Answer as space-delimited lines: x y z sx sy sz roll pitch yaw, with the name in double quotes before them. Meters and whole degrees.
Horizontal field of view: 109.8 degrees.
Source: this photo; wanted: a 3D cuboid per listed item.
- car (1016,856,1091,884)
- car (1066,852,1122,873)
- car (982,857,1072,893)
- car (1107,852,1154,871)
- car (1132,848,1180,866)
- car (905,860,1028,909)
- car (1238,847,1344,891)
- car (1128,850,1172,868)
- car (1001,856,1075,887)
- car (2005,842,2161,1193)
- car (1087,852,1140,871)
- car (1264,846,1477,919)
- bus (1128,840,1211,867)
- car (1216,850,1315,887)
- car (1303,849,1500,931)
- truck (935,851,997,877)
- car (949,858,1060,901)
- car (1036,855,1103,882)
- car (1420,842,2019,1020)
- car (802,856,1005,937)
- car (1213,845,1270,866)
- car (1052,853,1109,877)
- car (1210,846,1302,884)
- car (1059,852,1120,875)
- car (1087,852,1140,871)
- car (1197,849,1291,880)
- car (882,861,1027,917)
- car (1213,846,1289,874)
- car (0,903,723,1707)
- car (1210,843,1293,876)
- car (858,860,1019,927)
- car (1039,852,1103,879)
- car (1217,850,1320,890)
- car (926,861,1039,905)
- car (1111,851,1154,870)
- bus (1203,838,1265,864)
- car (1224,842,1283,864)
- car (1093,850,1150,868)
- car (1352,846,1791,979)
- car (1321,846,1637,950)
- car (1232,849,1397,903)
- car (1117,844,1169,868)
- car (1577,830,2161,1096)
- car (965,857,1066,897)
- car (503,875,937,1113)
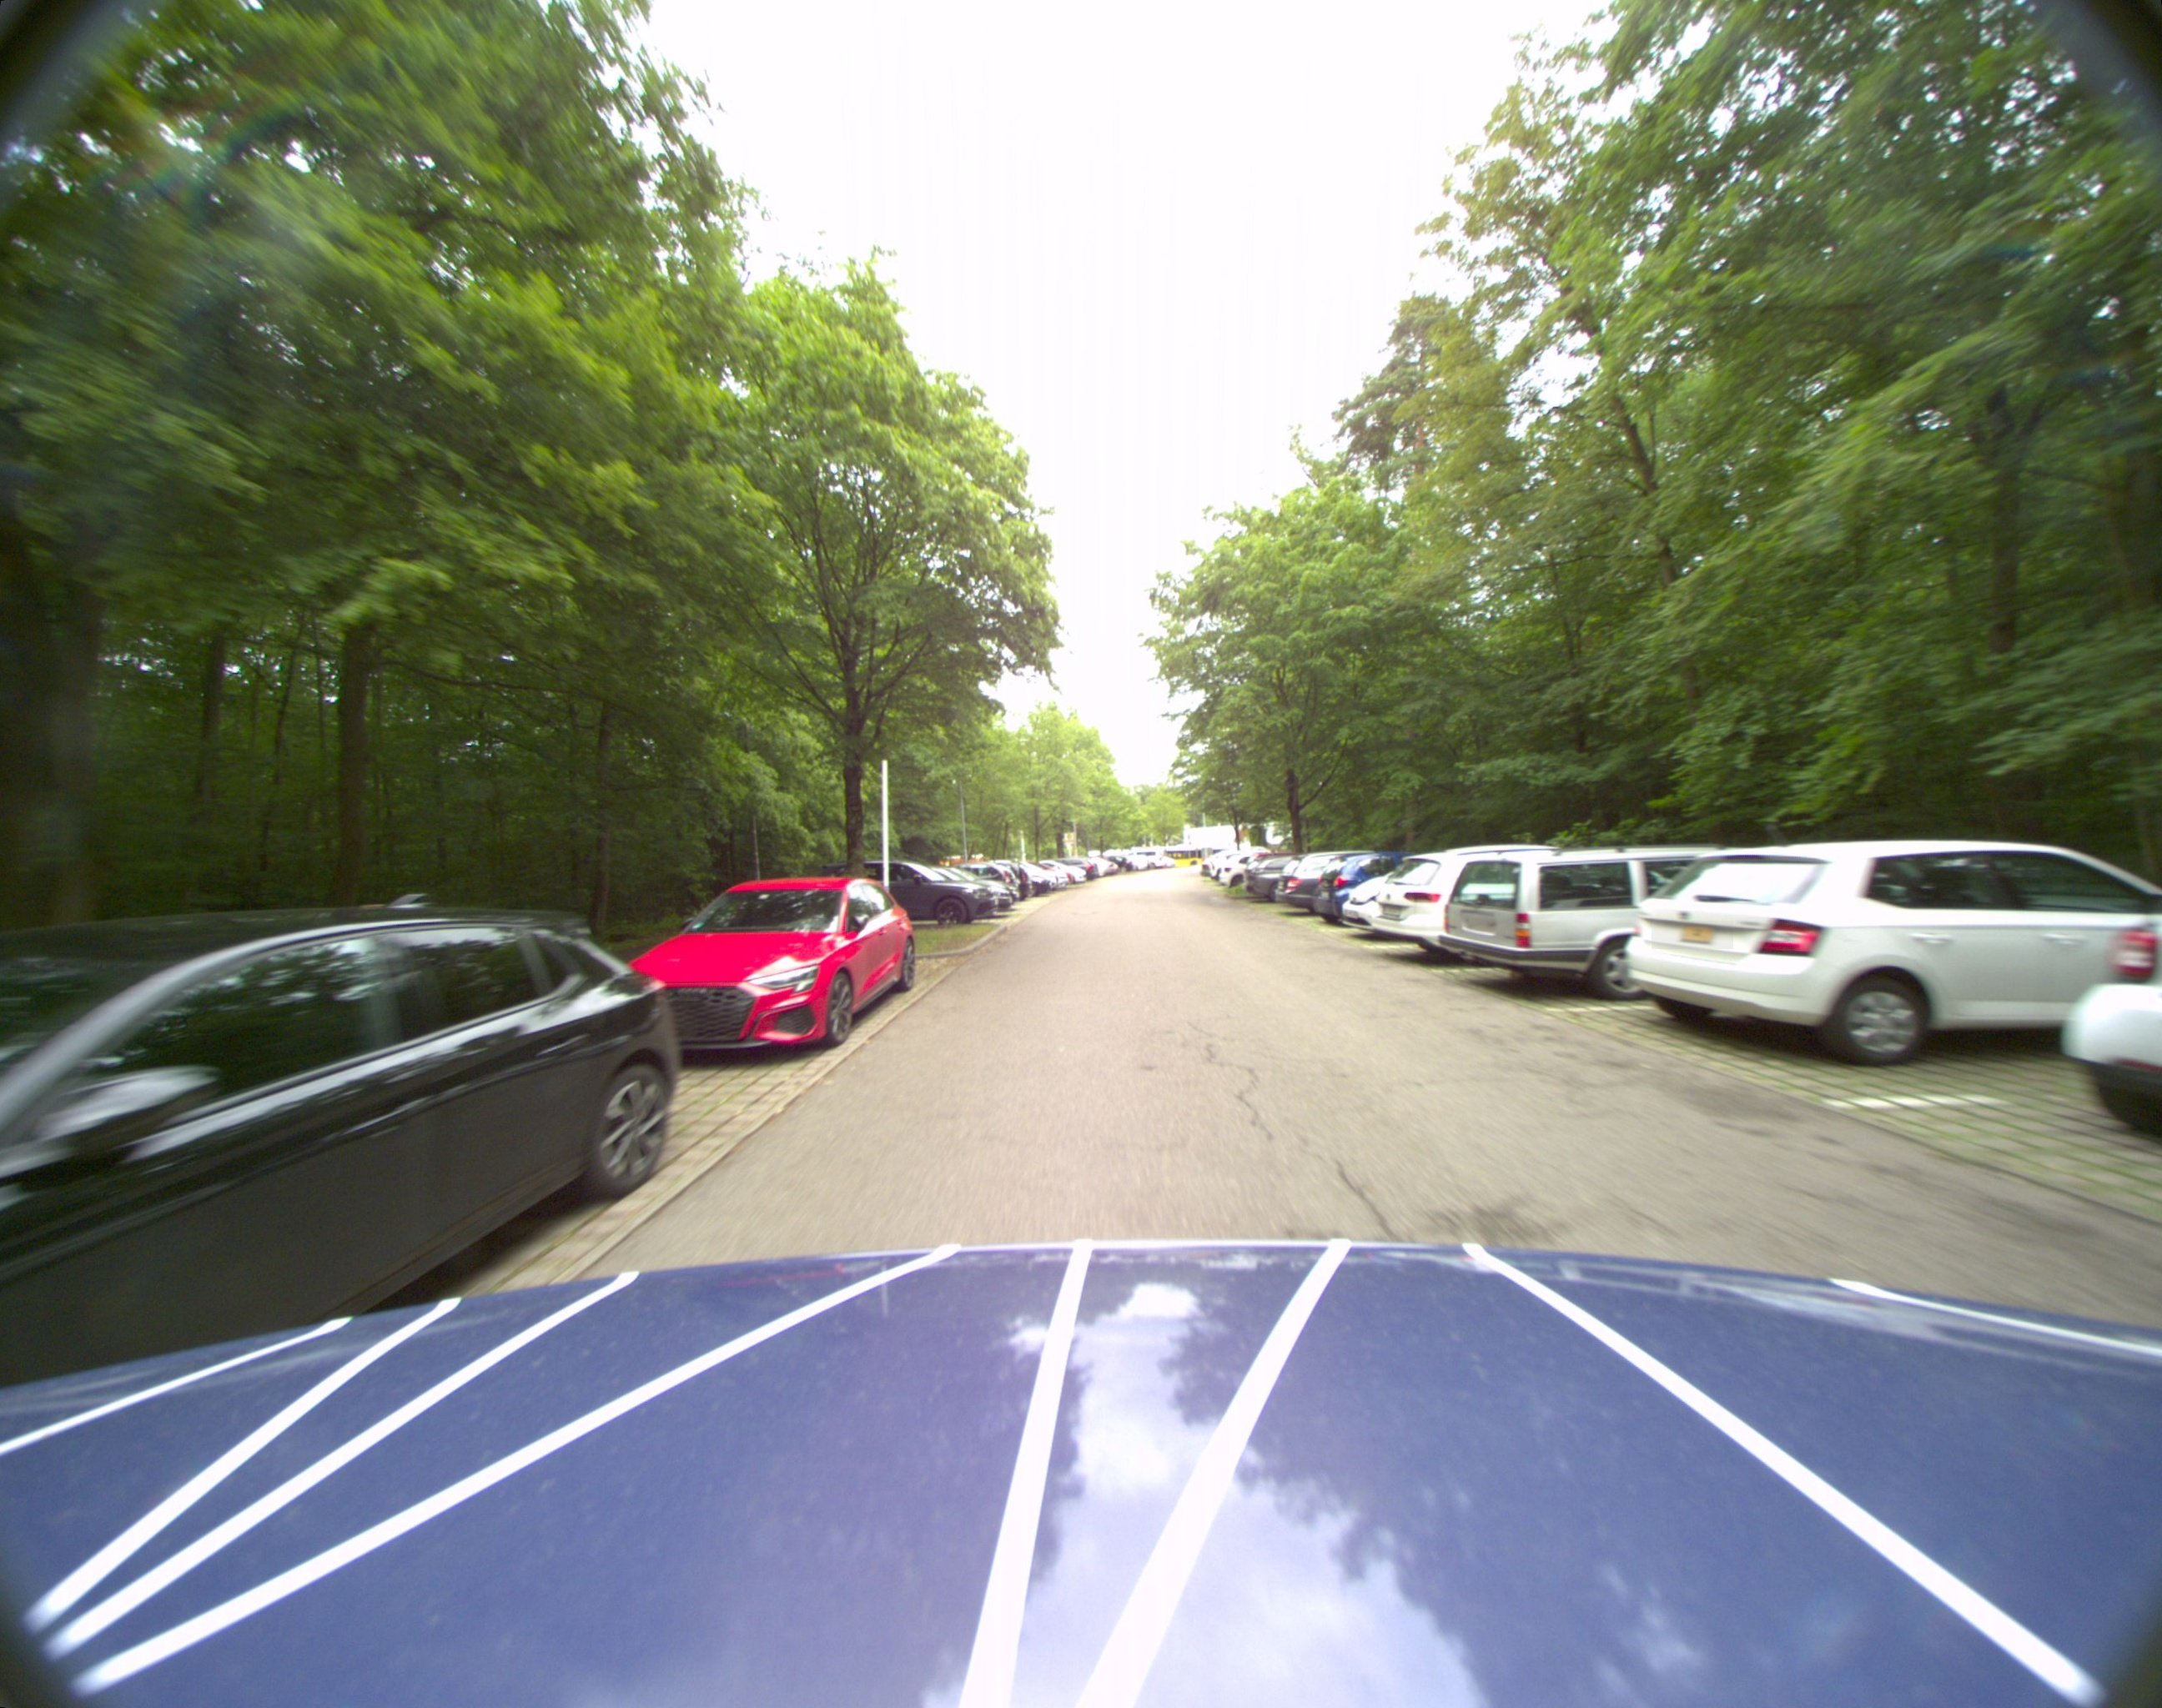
"car" -1.531 0.931 43.524 3.940 1.402 1.879 -3 0 8
"car" 1.046 0.663 58.494 3.993 1.441 1.942 -2 0 11
"car" -2.512 0.979 36.032 3.985 1.475 1.884 -3 0 4
"car" 4.625 0.686 70.679 3.992 1.475 1.879 -4 1 17
"car" 7.892 0.333 80.354 4.524 1.683 2.169 -2 0 24
"car" -3.877 1.020 26.148 3.835 1.522 1.851 -2 0 4
"car" 7.612 0.525 27.827 3.472 1.472 1.684 -1 1 6
"car" 7.093 0.520 77.984 4.001 1.546 1.950 -4 -1 25
"car" -2.277 0.931 40.802 3.804 1.432 1.870 -2 0 0
"car" 6.949 0.663 3.149 4.247 1.541 1.846 -2 0 -4
"car" 2.859 0.637 65.918 4.234 1.472 1.921 -3 0 15
"car" 6.700 0.638 18.025 4.275 1.477 2.058 -2 0 5
"bus" 11.866 -0.035 102.079 10.518 3.139 2.811 -2 -2 -9
"car" 7.812 0.594 32.428 3.811 1.412 1.897 -2 0 3
"car" 6.368 0.683 15.337 3.226 1.436 1.680 -2 0 0
"truck" -16.593 1.444 109.986 8.233 3.493 2.872 -2 -1 14
"car" -3.065 1.014 30.988 4.196 1.503 1.894 -3 0 3
"car" -0.659 0.858 45.757 3.776 1.472 1.775 -3 0 6
"car" 6.232 0.705 7.873 4.573 1.477 1.870 -2 0 1
"car" -4.144 0.979 18.198 4.275 1.656 1.958 -3 0 3
"car" 13.094 0.125 61.799 4.361 1.588 2.033 -2 1 16
"car" -0.022 0.765 53.550 3.708 1.502 1.752 -2 1 12
"car" 8.062 0.496 34.989 3.966 1.618 2.000 -2 0 15
"car" 0.616 0.698 55.850 4.133 1.453 1.867 -2 1 13
"car" 2.721 0.627 63.290 3.992 1.474 1.924 -2 0 16
"car" 8.519 0.518 40.124 4.648 1.469 2.096 -2 0 8
"car" -3.819 1.049 23.411 3.996 1.466 1.953 -3 0 4
"car" 9.950 0.354 44.762 4.241 1.524 1.763 -2 0 8
"car" -3.006 1.029 2.250 1.729 1.414 4.284 -3 0 1
"car" 9.426 0.301 42.311 4.241 1.637 1.971 -2 0 6
"car" -3.776 1.023 20.760 3.998 1.542 1.975 -3 0 -2
"car" -0.608 0.731 48.956 3.774 1.580 1.951 -3 0 11
"car" 7.379 0.618 30.200 3.734 1.411 1.873 -2 0 6
"car" -3.619 1.049 28.376 3.835 1.449 1.809 -2 1 5
"car" 4.956 0.662 72.981 3.727 1.545 1.849 -4 -3 17
"bus" 20.765 -0.434 103.320 7.756 3.139 2.811 -2 -2 -9
"car" 16.132 -0.082 71.008 5.091 1.904 1.981 -2 0 20
"car" 3.687 0.439 68.490 4.777 1.467 1.855 -2 -1 18
"car" 6.328 0.695 10.218 4.575 1.439 2.085 -2 0 -3
"car" 6.589 0.685 12.919 4.377 1.477 1.891 -2 1 -1
"car" 6.958 0.640 23.040 4.414 1.416 2.036 -2 0 5
"car" 6.147 0.233 75.426 4.654 2.008 2.086 -4 -2 19
"car" 6.632 0.645 5.656 4.574 1.477 1.940 -3 0 0
"car" -2.836 0.993 33.512 4.016 1.550 1.979 -3 0 8
"car" -3.040 1.070 7.888 1.998 1.470 4.972 -3 0 1
